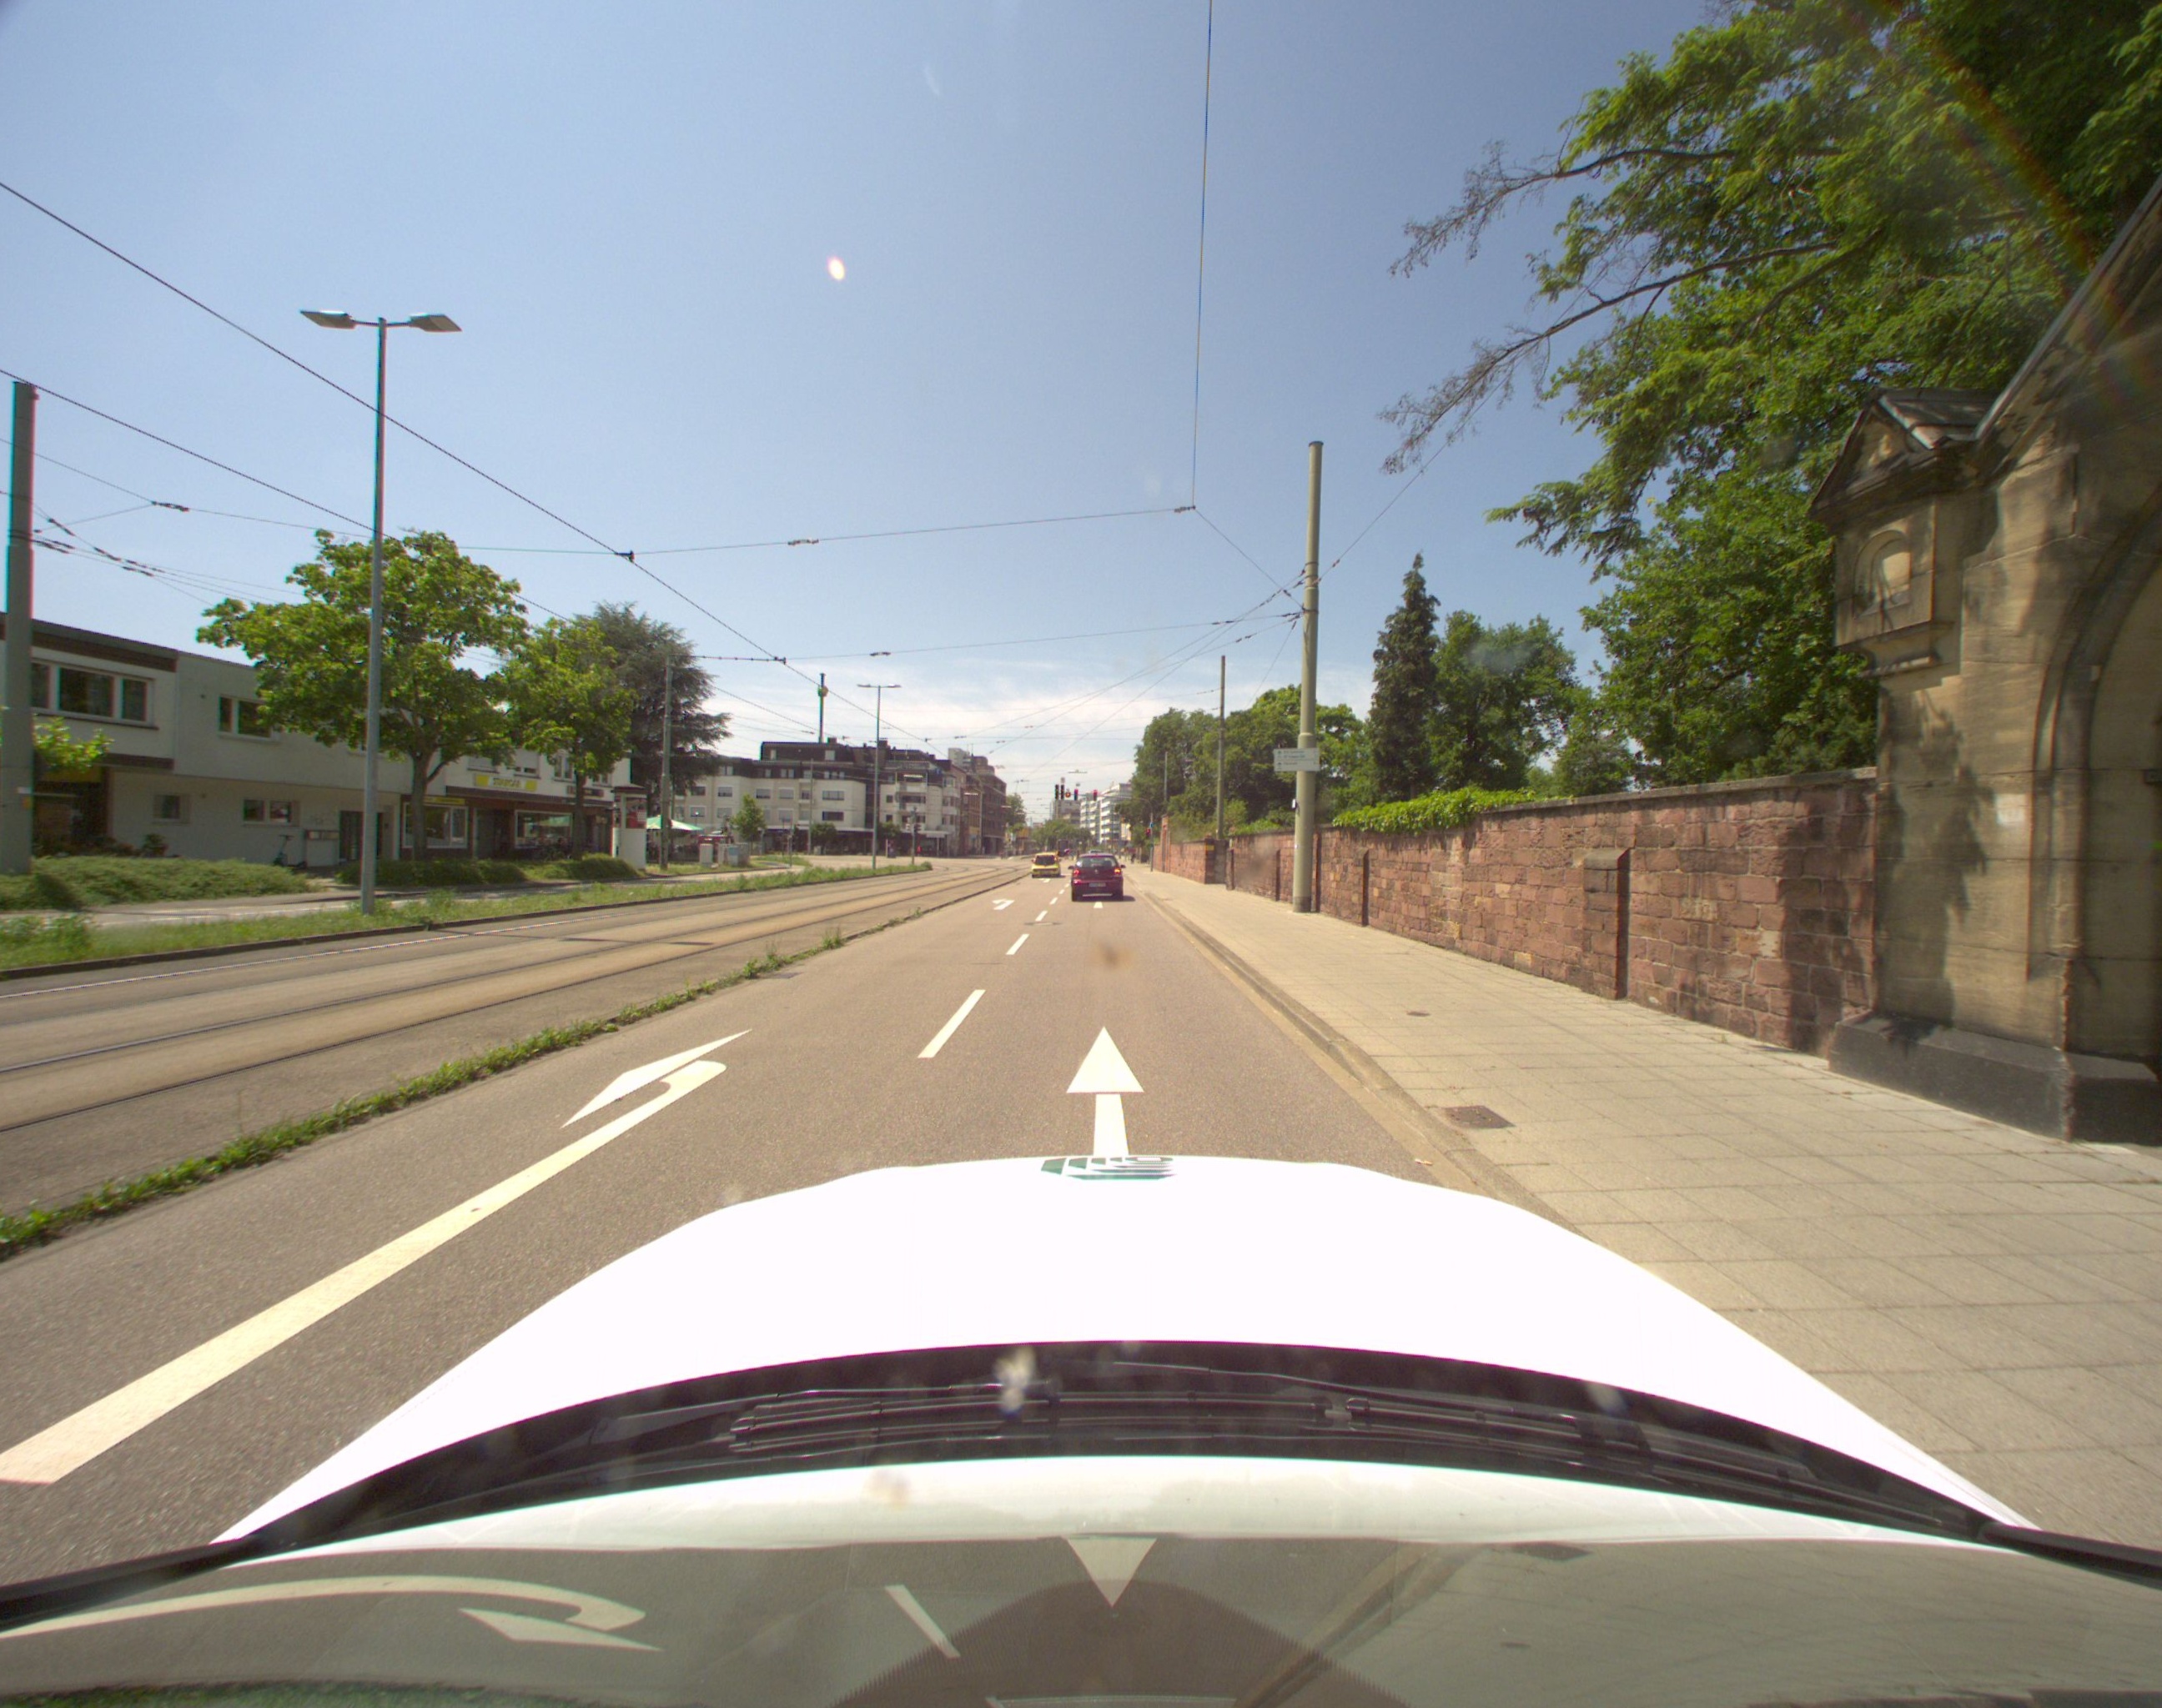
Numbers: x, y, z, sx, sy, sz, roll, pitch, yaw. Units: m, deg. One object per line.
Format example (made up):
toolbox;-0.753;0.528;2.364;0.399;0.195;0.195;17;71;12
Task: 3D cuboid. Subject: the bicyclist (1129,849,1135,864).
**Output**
bicyclist;6.229;0.257;99.806;0.719;1.818;0.889;0;-1;1

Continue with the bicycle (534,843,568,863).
bicycle;-26.720;-0.058;41.077;0.536;0.979;1.759;0;-1;1

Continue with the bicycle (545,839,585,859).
bicycle;-25.457;-0.245;40.197;0.608;0.979;2.030;0;-1;1

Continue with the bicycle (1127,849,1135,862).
bicycle;6.202;0.180;101.170;0.832;1.525;4.001;0;-1;1

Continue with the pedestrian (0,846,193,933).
pedestrian;-26.059;0.846;20.945;1.987;2.014;4.000;0;-1;1

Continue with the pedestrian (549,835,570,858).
pedestrian;-28.993;-0.415;45.310;0.587;1.268;0.842;0;-1;1

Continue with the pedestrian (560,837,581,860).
pedestrian;-28.324;-0.319;45.212;0.587;1.268;0.842;0;-1;1

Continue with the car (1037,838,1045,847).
car;-9.752;-2.731;198.080;1.729;2.013;4.001;1;0;1

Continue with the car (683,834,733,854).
car;-44.981;-1.200;98.302;5.049;2.341;2.244;0;-1;-1

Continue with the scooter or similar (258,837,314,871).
scooter or similar;-28.502;0.005;29.202;0.450;1.191;1.352;0;-1;21

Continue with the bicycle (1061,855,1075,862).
bicycle;-1.819;0.581;114.207;1.861;1.008;0.578;0;-1;-4

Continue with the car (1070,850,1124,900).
car;0.504;0.619;26.239;1.604;1.463;4.086;-1;0;1

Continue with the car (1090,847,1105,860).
car;1.765;-0.051;89.129;1.567;1.415;3.720;-1;0;1

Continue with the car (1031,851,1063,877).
car;-1.995;0.552;48.523;1.717;1.445;3.293;0;1;1

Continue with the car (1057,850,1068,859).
car;-3.598;0.058;160.639;1.931;1.641;4.000;0;-1;1

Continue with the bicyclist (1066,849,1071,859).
bicyclist;-1.723;-0.015;114.275;0.764;1.406;0.506;0;-1;-3

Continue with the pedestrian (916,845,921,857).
pedestrian;-22.388;-0.400;112.393;0.480;1.541;0.540;0;-1;16
